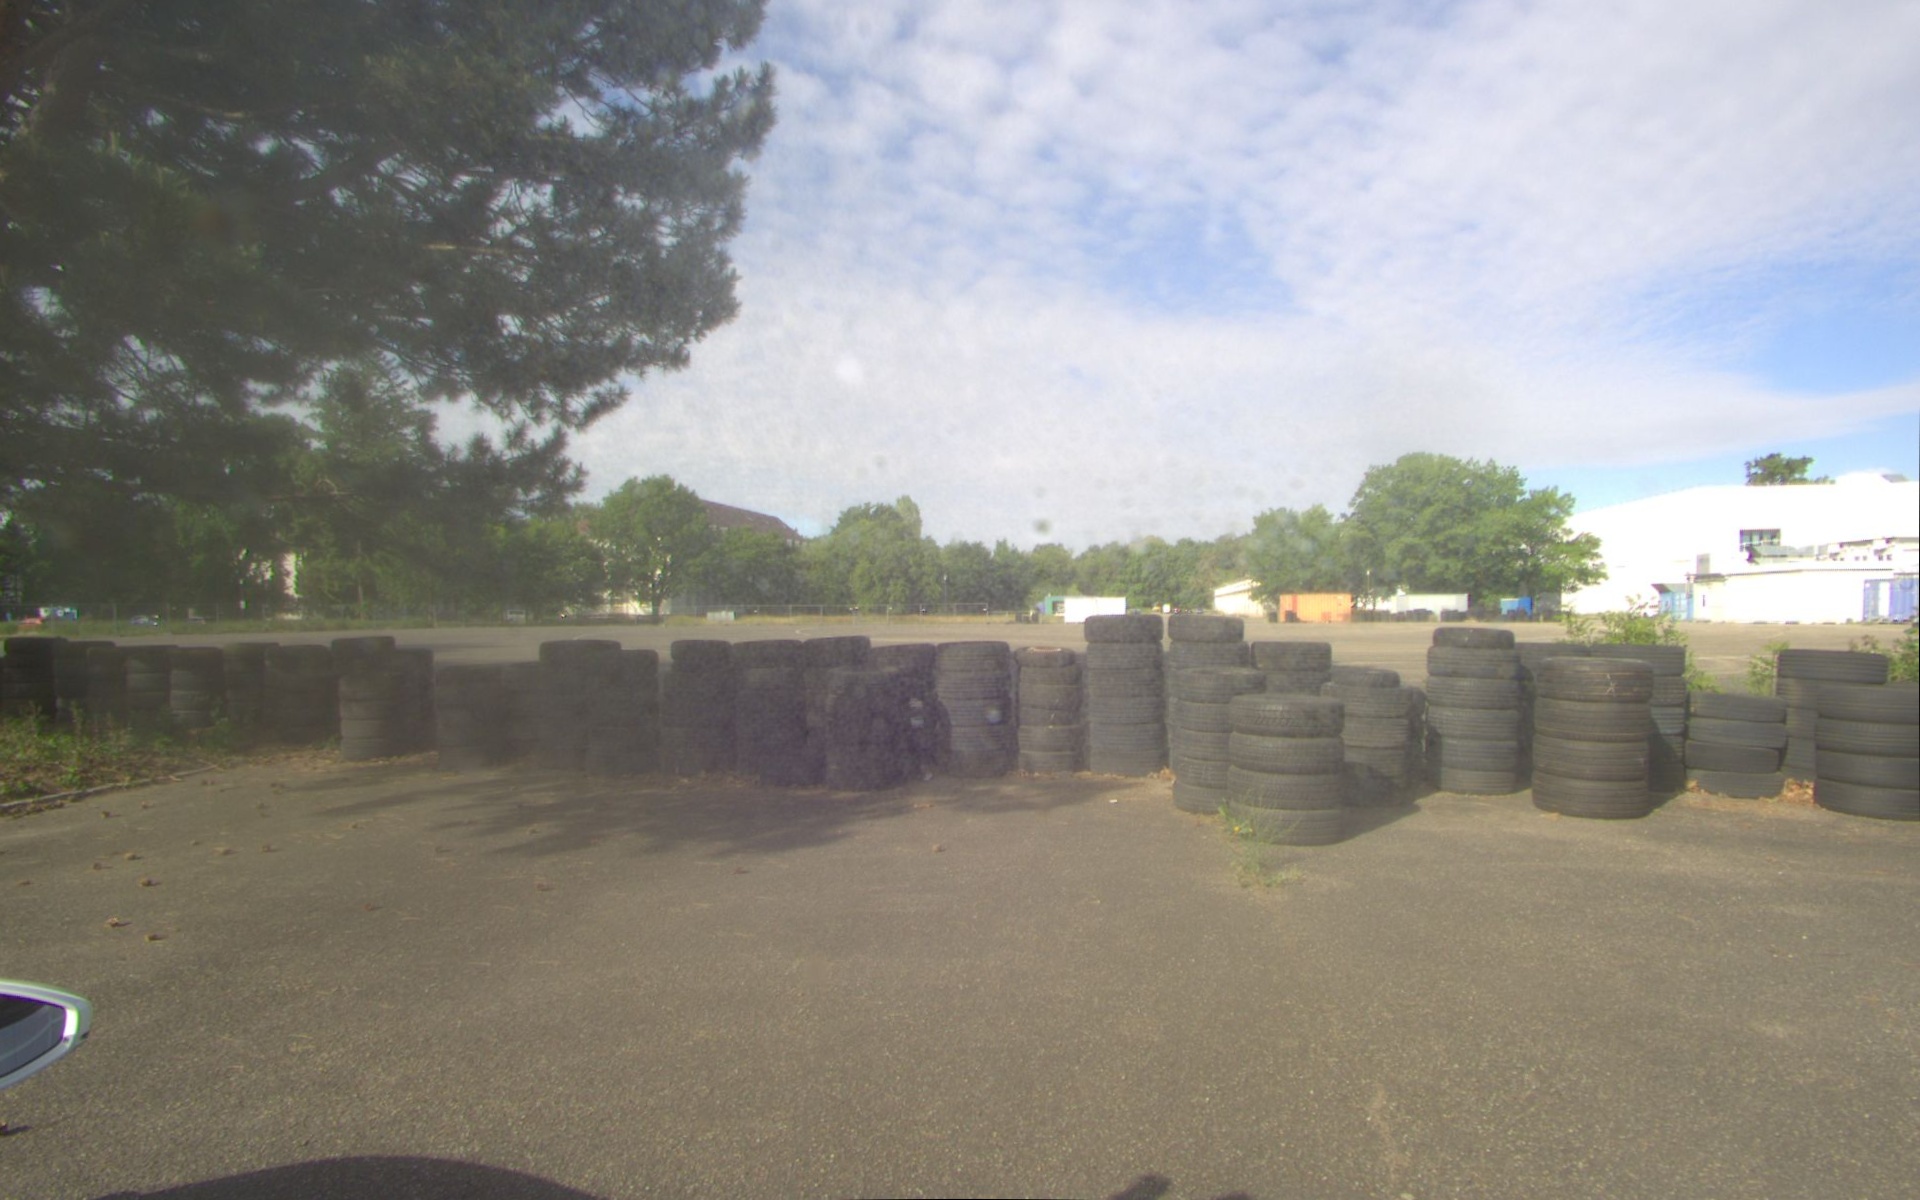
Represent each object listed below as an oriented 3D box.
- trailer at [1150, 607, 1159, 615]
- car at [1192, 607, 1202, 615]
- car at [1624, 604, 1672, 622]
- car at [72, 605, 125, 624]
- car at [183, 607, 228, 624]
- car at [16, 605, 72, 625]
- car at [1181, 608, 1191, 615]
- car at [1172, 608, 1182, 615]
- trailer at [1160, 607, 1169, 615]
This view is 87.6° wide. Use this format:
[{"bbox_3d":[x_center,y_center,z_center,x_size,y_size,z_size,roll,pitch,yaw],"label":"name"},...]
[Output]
[{"bbox_3d":[47.682,2.645,245.449,1.962,2.040,3.998,0,0,9],"label":"trailer"},{"bbox_3d":[56.977,2.621,240.809,1.961,1.773,3.999,0,0,8],"label":"car"},{"bbox_3d":[62.613,1.137,91.248,1.839,1.585,4.546,0,0,9],"label":"car"},{"bbox_3d":[-80.217,1.369,93.215,3.929,1.773,1.996,0,0,19],"label":"car"},{"bbox_3d":[-77.947,1.605,103.475,3.931,1.773,1.995,0,0,21],"label":"car"},{"bbox_3d":[-81.015,1.329,88.556,3.928,1.773,1.997,0,0,18],"label":"car"},{"bbox_3d":[54.524,2.732,241.283,1.999,1.832,3.999,0,0,8],"label":"car"},{"bbox_3d":[52.296,2.774,241.524,1.961,1.773,3.999,0,0,8],"label":"car"},{"bbox_3d":[49.822,2.668,243.672,2.025,2.040,3.998,0,0,10],"label":"trailer"}]
